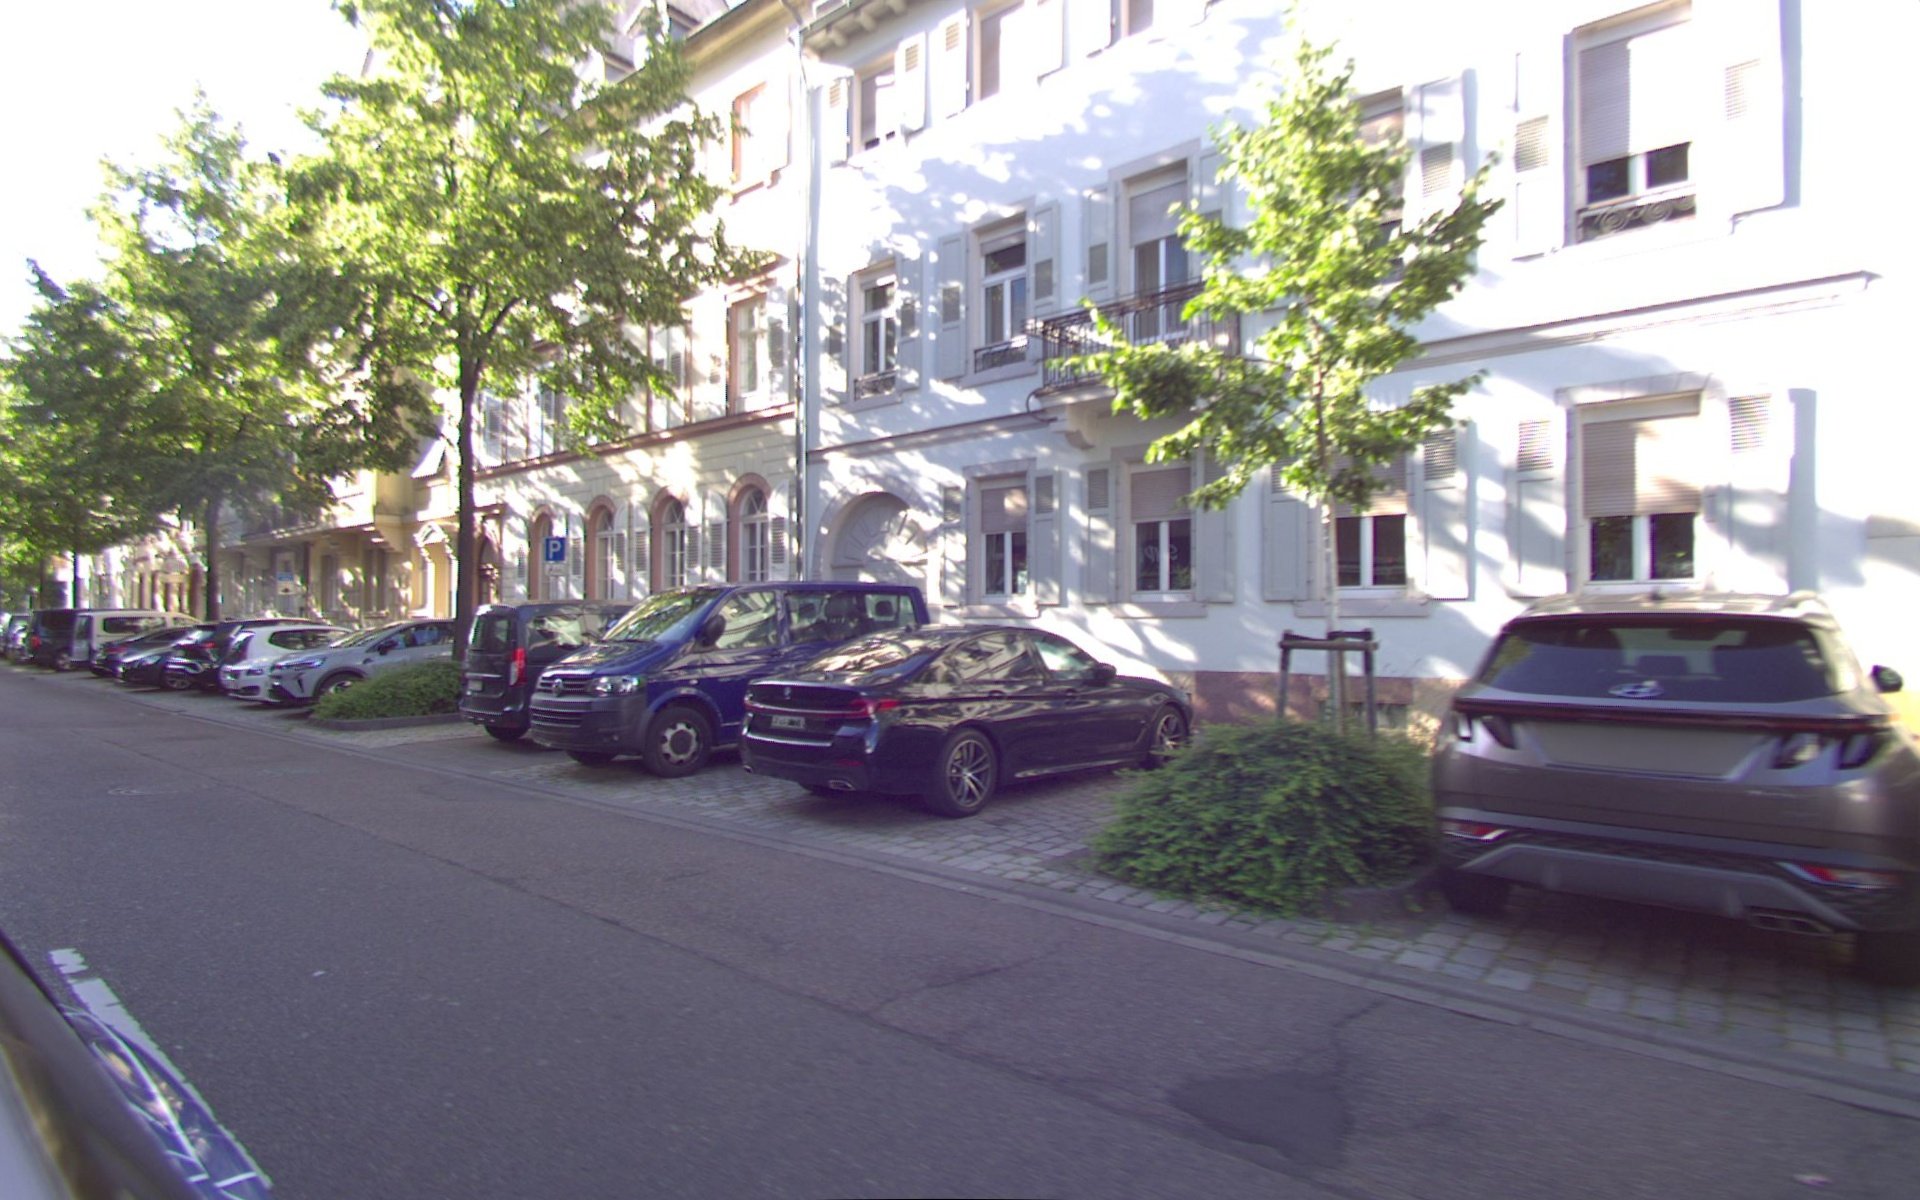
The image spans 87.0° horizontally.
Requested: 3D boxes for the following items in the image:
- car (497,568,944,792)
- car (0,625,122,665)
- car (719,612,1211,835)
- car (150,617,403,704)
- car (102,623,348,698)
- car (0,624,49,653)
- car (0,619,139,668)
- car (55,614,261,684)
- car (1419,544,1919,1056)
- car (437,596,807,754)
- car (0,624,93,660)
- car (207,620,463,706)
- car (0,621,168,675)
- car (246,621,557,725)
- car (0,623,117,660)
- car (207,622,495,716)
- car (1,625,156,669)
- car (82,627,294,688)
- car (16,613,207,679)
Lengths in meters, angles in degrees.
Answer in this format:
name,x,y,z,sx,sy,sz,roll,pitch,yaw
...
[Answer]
name,x,y,z,sx,sy,sz,roll,pitch,yaw
car,-2.430,0.732,11.300,1.915,1.965,4.632,-1,-1,41
car,-38.452,1.844,42.736,1.956,1.556,4.311,-1,-1,29
car,0.298,0.859,9.011,1.684,1.470,4.593,-1,-1,44
car,-15.074,1.253,22.556,1.911,1.722,4.304,-1,-1,33
car,-17.194,1.334,23.832,1.916,1.552,4.418,-1,-1,42
car,-53.257,2.115,55.843,1.944,1.556,4.292,-1,-1,42
car,-36.422,1.706,41.199,1.926,1.838,4.300,-1,-1,36
car,-23.172,1.347,29.417,1.909,1.848,4.308,-1,-1,30
car,4.257,0.699,5.616,1.807,1.725,4.630,-1,-1,42
car,-4.404,0.872,13.739,1.916,1.785,4.418,-1,-1,42
car,-43.867,1.950,47.394,1.996,1.503,4.658,0,1,36
car,-13.111,1.234,21.450,1.808,1.594,4.295,-1,-1,40
car,-31.324,1.660,36.306,1.914,1.746,4.297,-1,-1,38
car,-9.619,1.158,17.700,1.917,1.552,4.416,-1,-1,44
car,-41.675,1.902,46.177,1.999,1.503,4.651,-2,-1,40
car,-11.609,1.234,19.554,1.915,1.552,4.421,-1,-1,40
car,-34.312,1.789,39.492,1.914,1.556,4.297,-1,-1,38
car,-21.004,1.506,27.682,1.914,1.450,4.297,-1,-1,38
car,-27.201,1.420,32.571,1.930,1.941,4.523,-1,-1,43
